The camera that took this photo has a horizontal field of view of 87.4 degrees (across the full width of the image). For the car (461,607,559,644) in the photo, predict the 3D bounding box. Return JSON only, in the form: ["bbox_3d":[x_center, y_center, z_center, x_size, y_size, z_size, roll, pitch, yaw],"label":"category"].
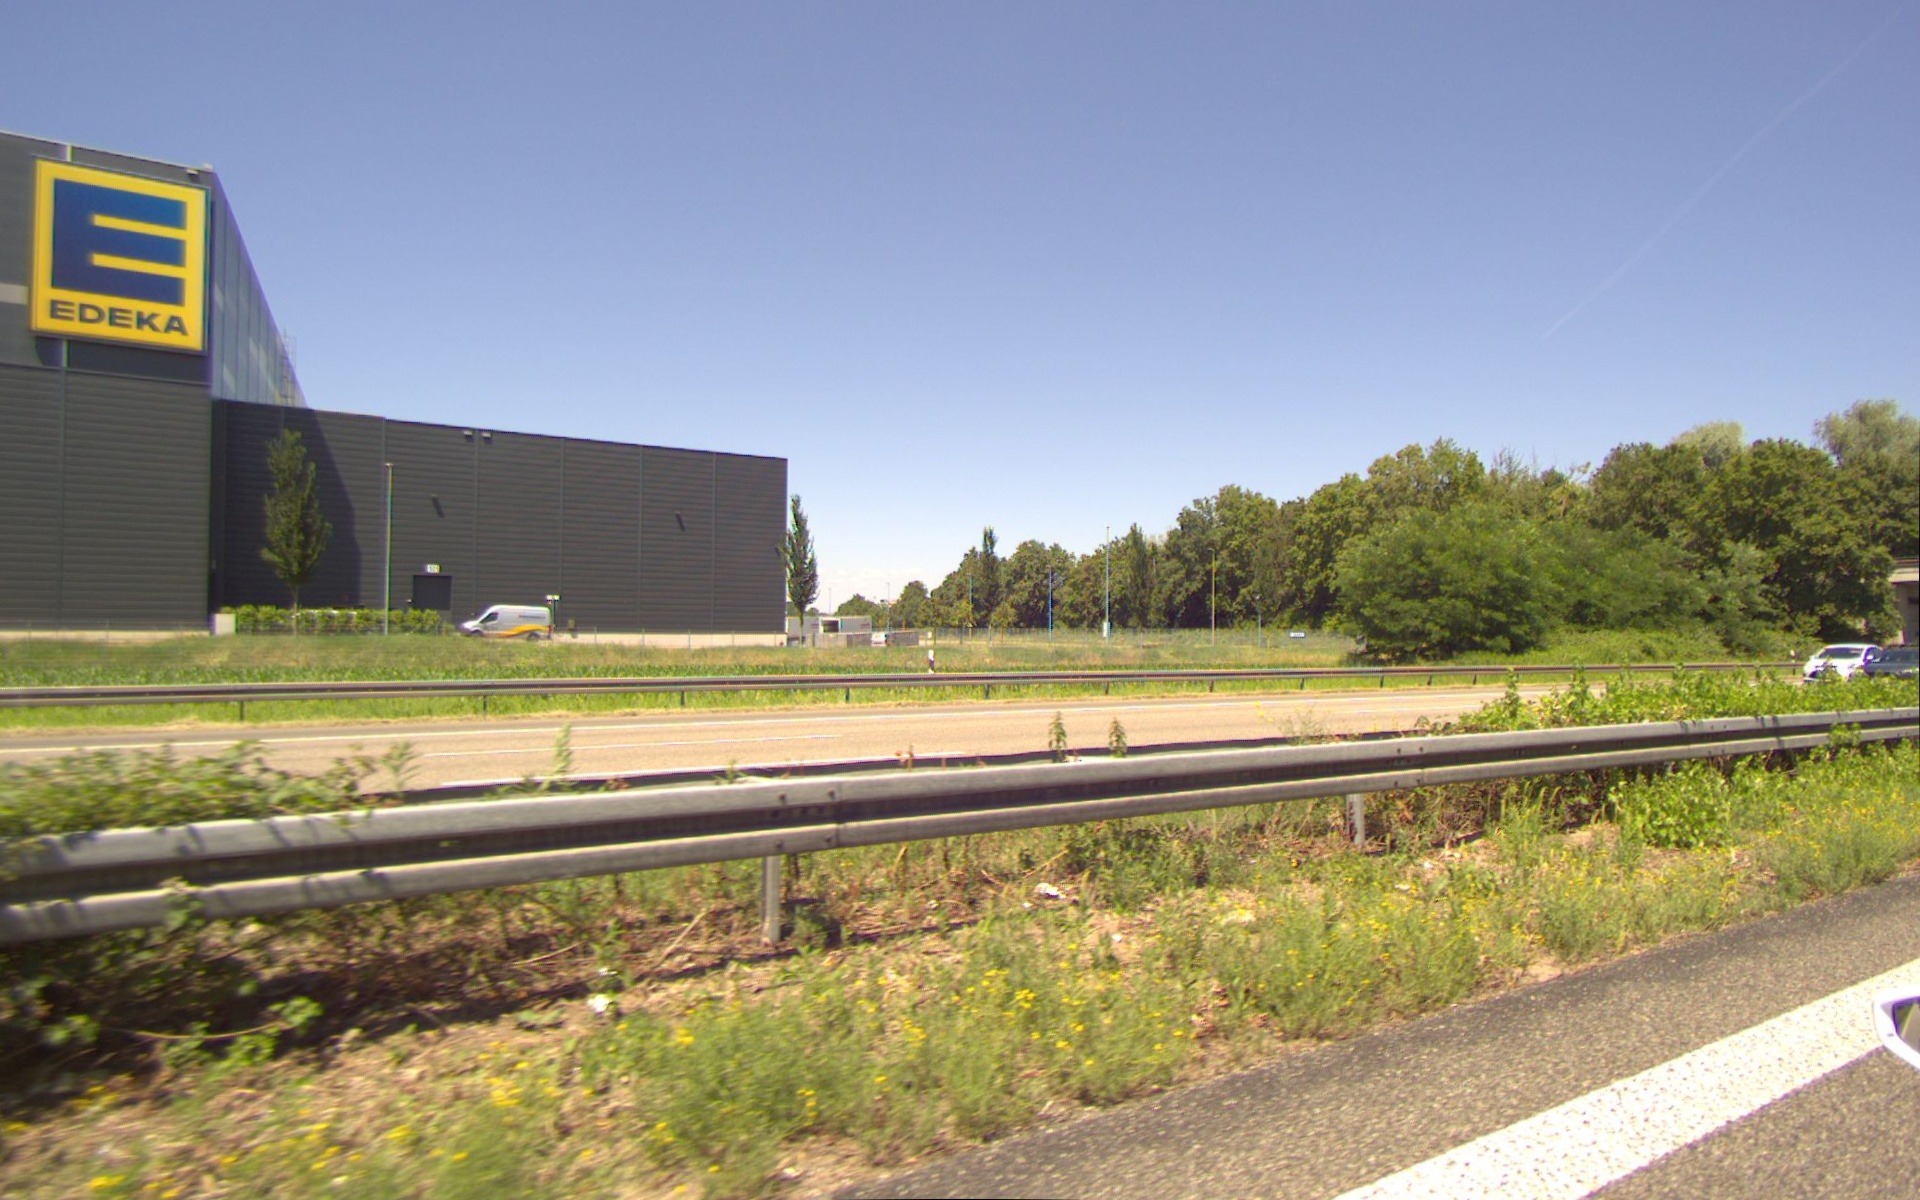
[{"bbox_3d":[-31.881,1.856,71.226,6.102,2.488,2.386,2,-2,-30],"label":"car"}]

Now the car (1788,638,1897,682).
[{"bbox_3d":[34.852,2.342,39.640,4.689,1.614,1.890,2,-3,-31],"label":"car"}]

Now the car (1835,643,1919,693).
[{"bbox_3d":[31.368,2.264,33.445,4.975,1.552,1.890,2,-5,-31],"label":"car"}]
